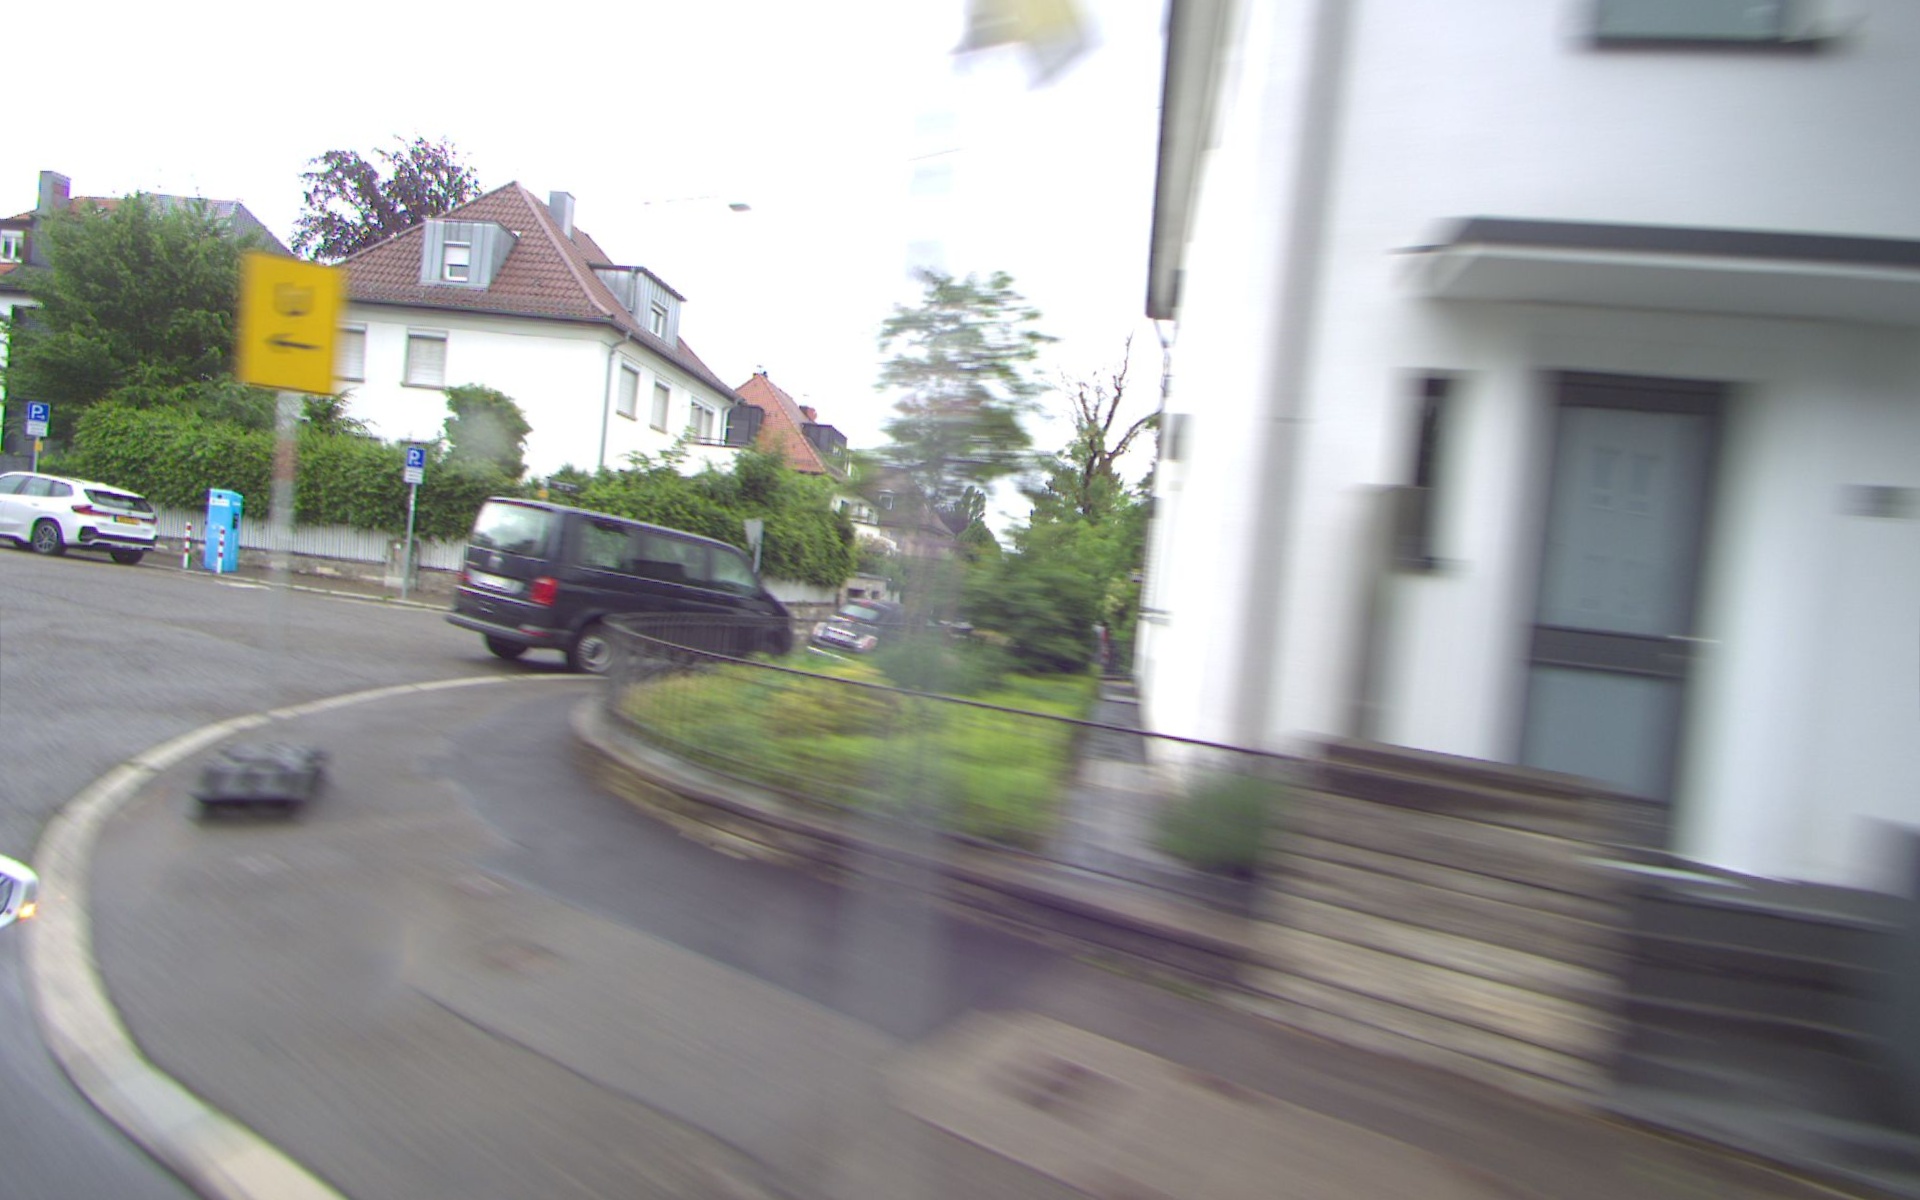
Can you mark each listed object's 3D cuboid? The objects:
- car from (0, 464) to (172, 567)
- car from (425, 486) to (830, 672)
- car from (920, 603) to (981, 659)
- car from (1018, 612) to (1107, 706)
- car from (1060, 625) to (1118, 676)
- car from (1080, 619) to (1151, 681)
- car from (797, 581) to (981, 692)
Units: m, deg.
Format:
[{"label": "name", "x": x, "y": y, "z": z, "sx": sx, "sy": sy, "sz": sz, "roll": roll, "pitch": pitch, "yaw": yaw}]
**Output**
[{"label": "car", "x": -19.476, "y": -1.897, "z": 21.218, "sx": 4.559, "sy": 1.693, "sz": 1.751, "roll": 8, "pitch": 0, "yaw": 9}, {"label": "car", "x": -4.174, "y": -0.144, "z": 13.518, "sx": 1.909, "sy": 1.972, "sz": 4.908, "roll": 7, "pitch": 1, "yaw": 34}, {"label": "car", "x": -0.322, "y": 1.255, "z": 40.748, "sx": 1.790, "sy": 2.038, "sz": 4.003, "roll": 4, "pitch": -1, "yaw": 8}, {"label": "car", "x": 2.582, "y": 1.390, "z": 24.571, "sx": 1.738, "sy": 1.882, "sz": 4.003, "roll": 7, "pitch": -1, "yaw": 9}, {"label": "car", "x": 4.625, "y": 1.753, "z": 35.762, "sx": 1.738, "sy": 1.481, "sz": 4.003, "roll": 7, "pitch": -1, "yaw": 9}, {"label": "car", "x": 4.474, "y": 1.428, "z": 29.464, "sx": 1.738, "sy": 1.481, "sz": 4.003, "roll": 7, "pitch": -1, "yaw": 7}, {"label": "car", "x": -1.184, "y": 0.710, "z": 18.018, "sx": 1.302, "sy": 1.457, "sz": 3.262, "roll": 12, "pitch": 0, "yaw": 36}]
